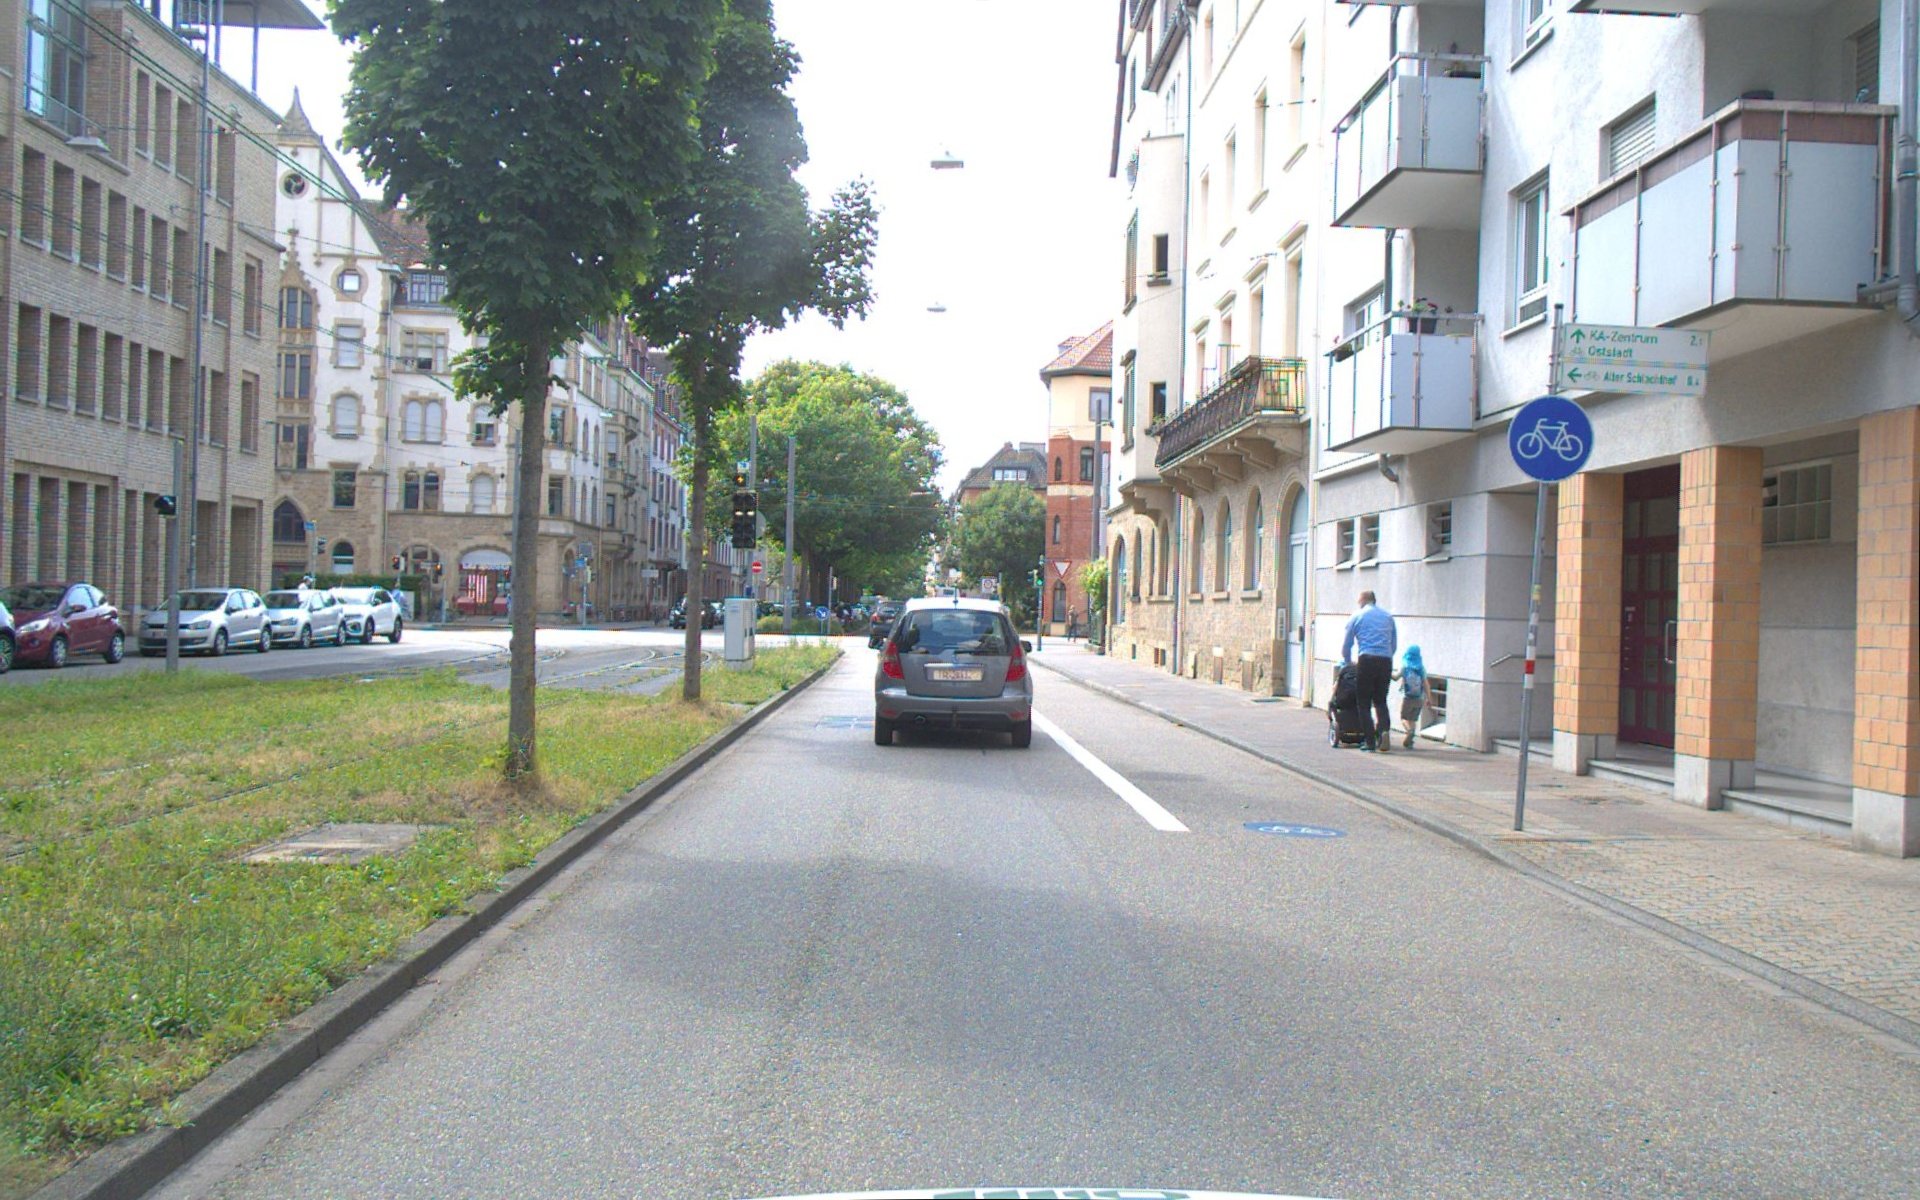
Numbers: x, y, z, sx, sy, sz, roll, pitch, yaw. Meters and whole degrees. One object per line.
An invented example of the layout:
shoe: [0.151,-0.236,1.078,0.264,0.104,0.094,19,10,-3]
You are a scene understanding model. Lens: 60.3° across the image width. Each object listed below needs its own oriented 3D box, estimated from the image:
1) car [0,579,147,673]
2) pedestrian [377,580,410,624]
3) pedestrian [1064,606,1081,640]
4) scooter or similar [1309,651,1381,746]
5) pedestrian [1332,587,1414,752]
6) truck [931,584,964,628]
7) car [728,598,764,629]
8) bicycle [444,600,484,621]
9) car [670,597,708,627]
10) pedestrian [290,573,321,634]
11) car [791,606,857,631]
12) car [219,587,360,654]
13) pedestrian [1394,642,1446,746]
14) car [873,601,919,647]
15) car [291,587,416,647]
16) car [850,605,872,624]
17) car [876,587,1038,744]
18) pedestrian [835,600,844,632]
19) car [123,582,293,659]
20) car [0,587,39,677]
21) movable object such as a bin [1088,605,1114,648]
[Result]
car: [-16.220,0.433,29.622,1.550,1.557,3.549,1,0,-1]
pedestrian: [-23.329,0.090,68.152,0.763,1.752,1.017,1,-1,44]
pedestrian: [5.667,1.147,83.360,0.851,1.685,0.736,1,-1,3]
scooter or similar: [4.473,1.135,19.252,0.580,1.019,0.905,-3,0,-1]
pedestrian: [4.571,0.753,18.363,0.608,1.769,0.877,-2,0,-1]
truck: [-0.853,0.405,116.299,2.079,3.022,4.001,1,-1,2]
car: [-12.447,0.797,96.353,1.955,1.758,3.994,1,0,-7]
bicycle: [-25.424,0.539,84.788,1.882,1.100,0.776,1,-1,-12]
car: [-15.503,0.701,94.775,1.955,1.646,3.994,1,0,-7]
pedestrian: [-20.210,0.107,51.062,0.751,1.827,0.952,2,-1,-27]
car: [-8.066,1.073,97.758,1.956,1.362,3.941,2,0,-40]
car: [-16.777,0.496,41.601,1.893,1.557,4.013,1,0,-1]
pedestrian: [5.199,1.056,18.700,0.447,1.155,0.494,0,0,-1]
car: [-2.498,0.934,64.933,1.687,1.736,3.676,1,0,-1]
car: [-16.823,0.453,46.084,1.893,1.562,4.257,1,0,-1]
car: [-8.400,1.199,140.372,1.717,1.543,3.498,2,0,-1]
car: [-0.049,0.703,19.275,1.687,1.634,3.676,1,0,-1]
pedestrian: [-6.777,0.888,93.002,0.483,1.755,0.653,2,-1,-7]
car: [-16.444,0.437,36.408,1.813,1.557,4.209,1,0,-1]
car: [-16.113,0.481,25.104,1.893,1.420,4.238,1,0,-1]
movable object such as a bin: [4.994,0.944,58.694,0.701,1.498,0.980,1,-1,-10]
